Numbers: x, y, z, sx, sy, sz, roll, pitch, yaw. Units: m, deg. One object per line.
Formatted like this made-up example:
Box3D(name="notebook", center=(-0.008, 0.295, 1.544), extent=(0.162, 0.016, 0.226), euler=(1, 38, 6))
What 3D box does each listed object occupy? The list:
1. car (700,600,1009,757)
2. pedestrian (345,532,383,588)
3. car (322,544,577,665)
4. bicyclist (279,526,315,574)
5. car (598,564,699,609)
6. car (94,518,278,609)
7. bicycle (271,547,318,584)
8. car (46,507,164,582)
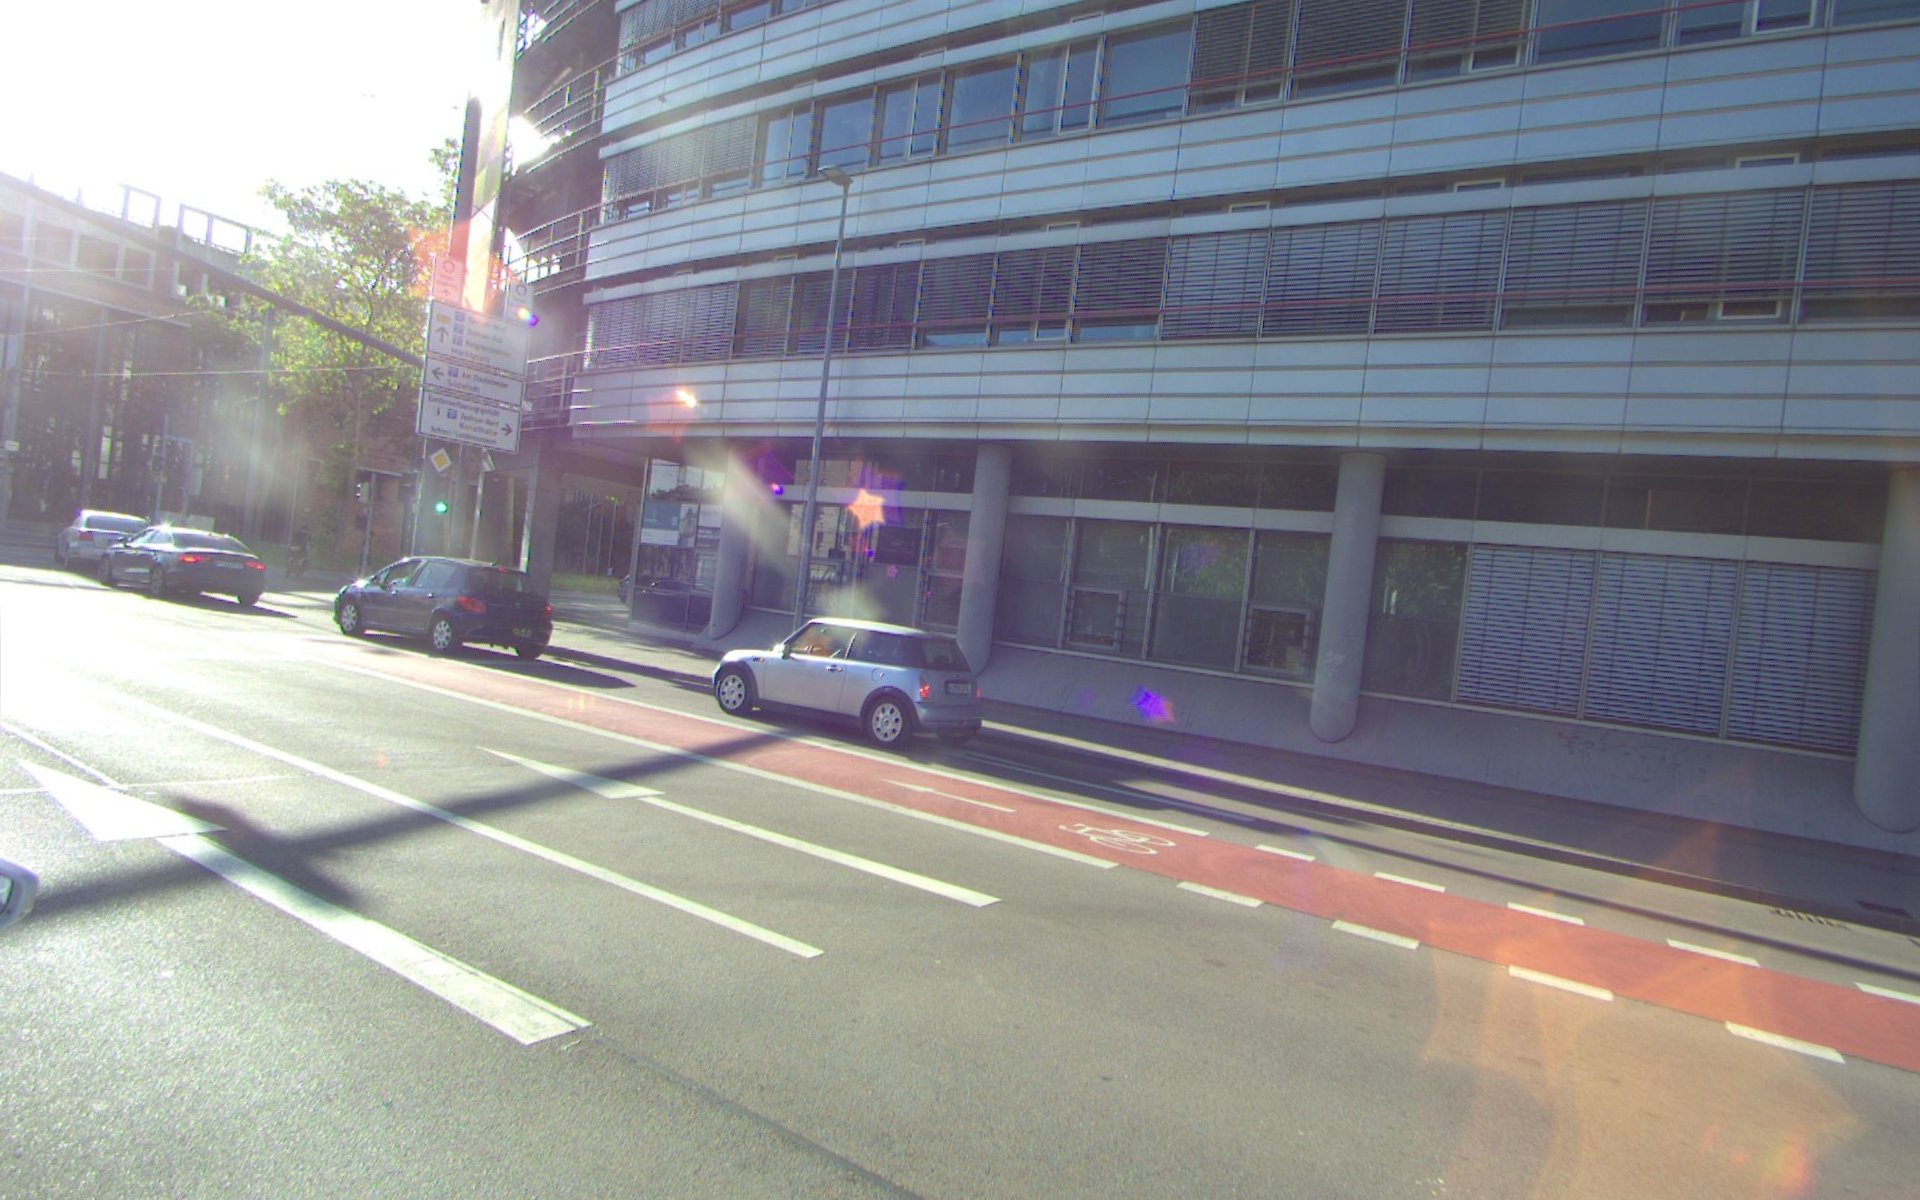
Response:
Box3D(name="car", center=(-1.361, 0.939, 12.743), extent=(3.477, 1.405, 1.664), euler=(7, -1, 31))
Box3D(name="pedestrian", center=(-20.125, -1.339, 33.978), extent=(0.578, 1.754, 0.790), euler=(6, -1, 39))
Box3D(name="car", center=(-8.539, 0.067, 16.781), extent=(3.910, 1.493, 1.864), euler=(7, 0, 30))
Box3D(name="bicyclist", center=(-21.122, -1.601, 32.068), extent=(0.657, 1.425, 0.811), euler=(7, 1, -20))
Box3D(name="car", center=(-13.931, -0.581, 45.115), extent=(1.837, 1.492, 3.968), euler=(7, -1, 33))
Box3D(name="car", center=(-16.230, -0.775, 21.046), extent=(3.953, 1.457, 1.697), euler=(6, -1, 32))
Box3D(name="bicycle", center=(-21.185, -1.116, 32.072), extent=(0.657, 1.031, 2.174), euler=(8, 1, -20))
Box3D(name="car", center=(-21.285, -1.407, 24.986), extent=(3.928, 1.493, 1.692), euler=(6, 0, 43))
